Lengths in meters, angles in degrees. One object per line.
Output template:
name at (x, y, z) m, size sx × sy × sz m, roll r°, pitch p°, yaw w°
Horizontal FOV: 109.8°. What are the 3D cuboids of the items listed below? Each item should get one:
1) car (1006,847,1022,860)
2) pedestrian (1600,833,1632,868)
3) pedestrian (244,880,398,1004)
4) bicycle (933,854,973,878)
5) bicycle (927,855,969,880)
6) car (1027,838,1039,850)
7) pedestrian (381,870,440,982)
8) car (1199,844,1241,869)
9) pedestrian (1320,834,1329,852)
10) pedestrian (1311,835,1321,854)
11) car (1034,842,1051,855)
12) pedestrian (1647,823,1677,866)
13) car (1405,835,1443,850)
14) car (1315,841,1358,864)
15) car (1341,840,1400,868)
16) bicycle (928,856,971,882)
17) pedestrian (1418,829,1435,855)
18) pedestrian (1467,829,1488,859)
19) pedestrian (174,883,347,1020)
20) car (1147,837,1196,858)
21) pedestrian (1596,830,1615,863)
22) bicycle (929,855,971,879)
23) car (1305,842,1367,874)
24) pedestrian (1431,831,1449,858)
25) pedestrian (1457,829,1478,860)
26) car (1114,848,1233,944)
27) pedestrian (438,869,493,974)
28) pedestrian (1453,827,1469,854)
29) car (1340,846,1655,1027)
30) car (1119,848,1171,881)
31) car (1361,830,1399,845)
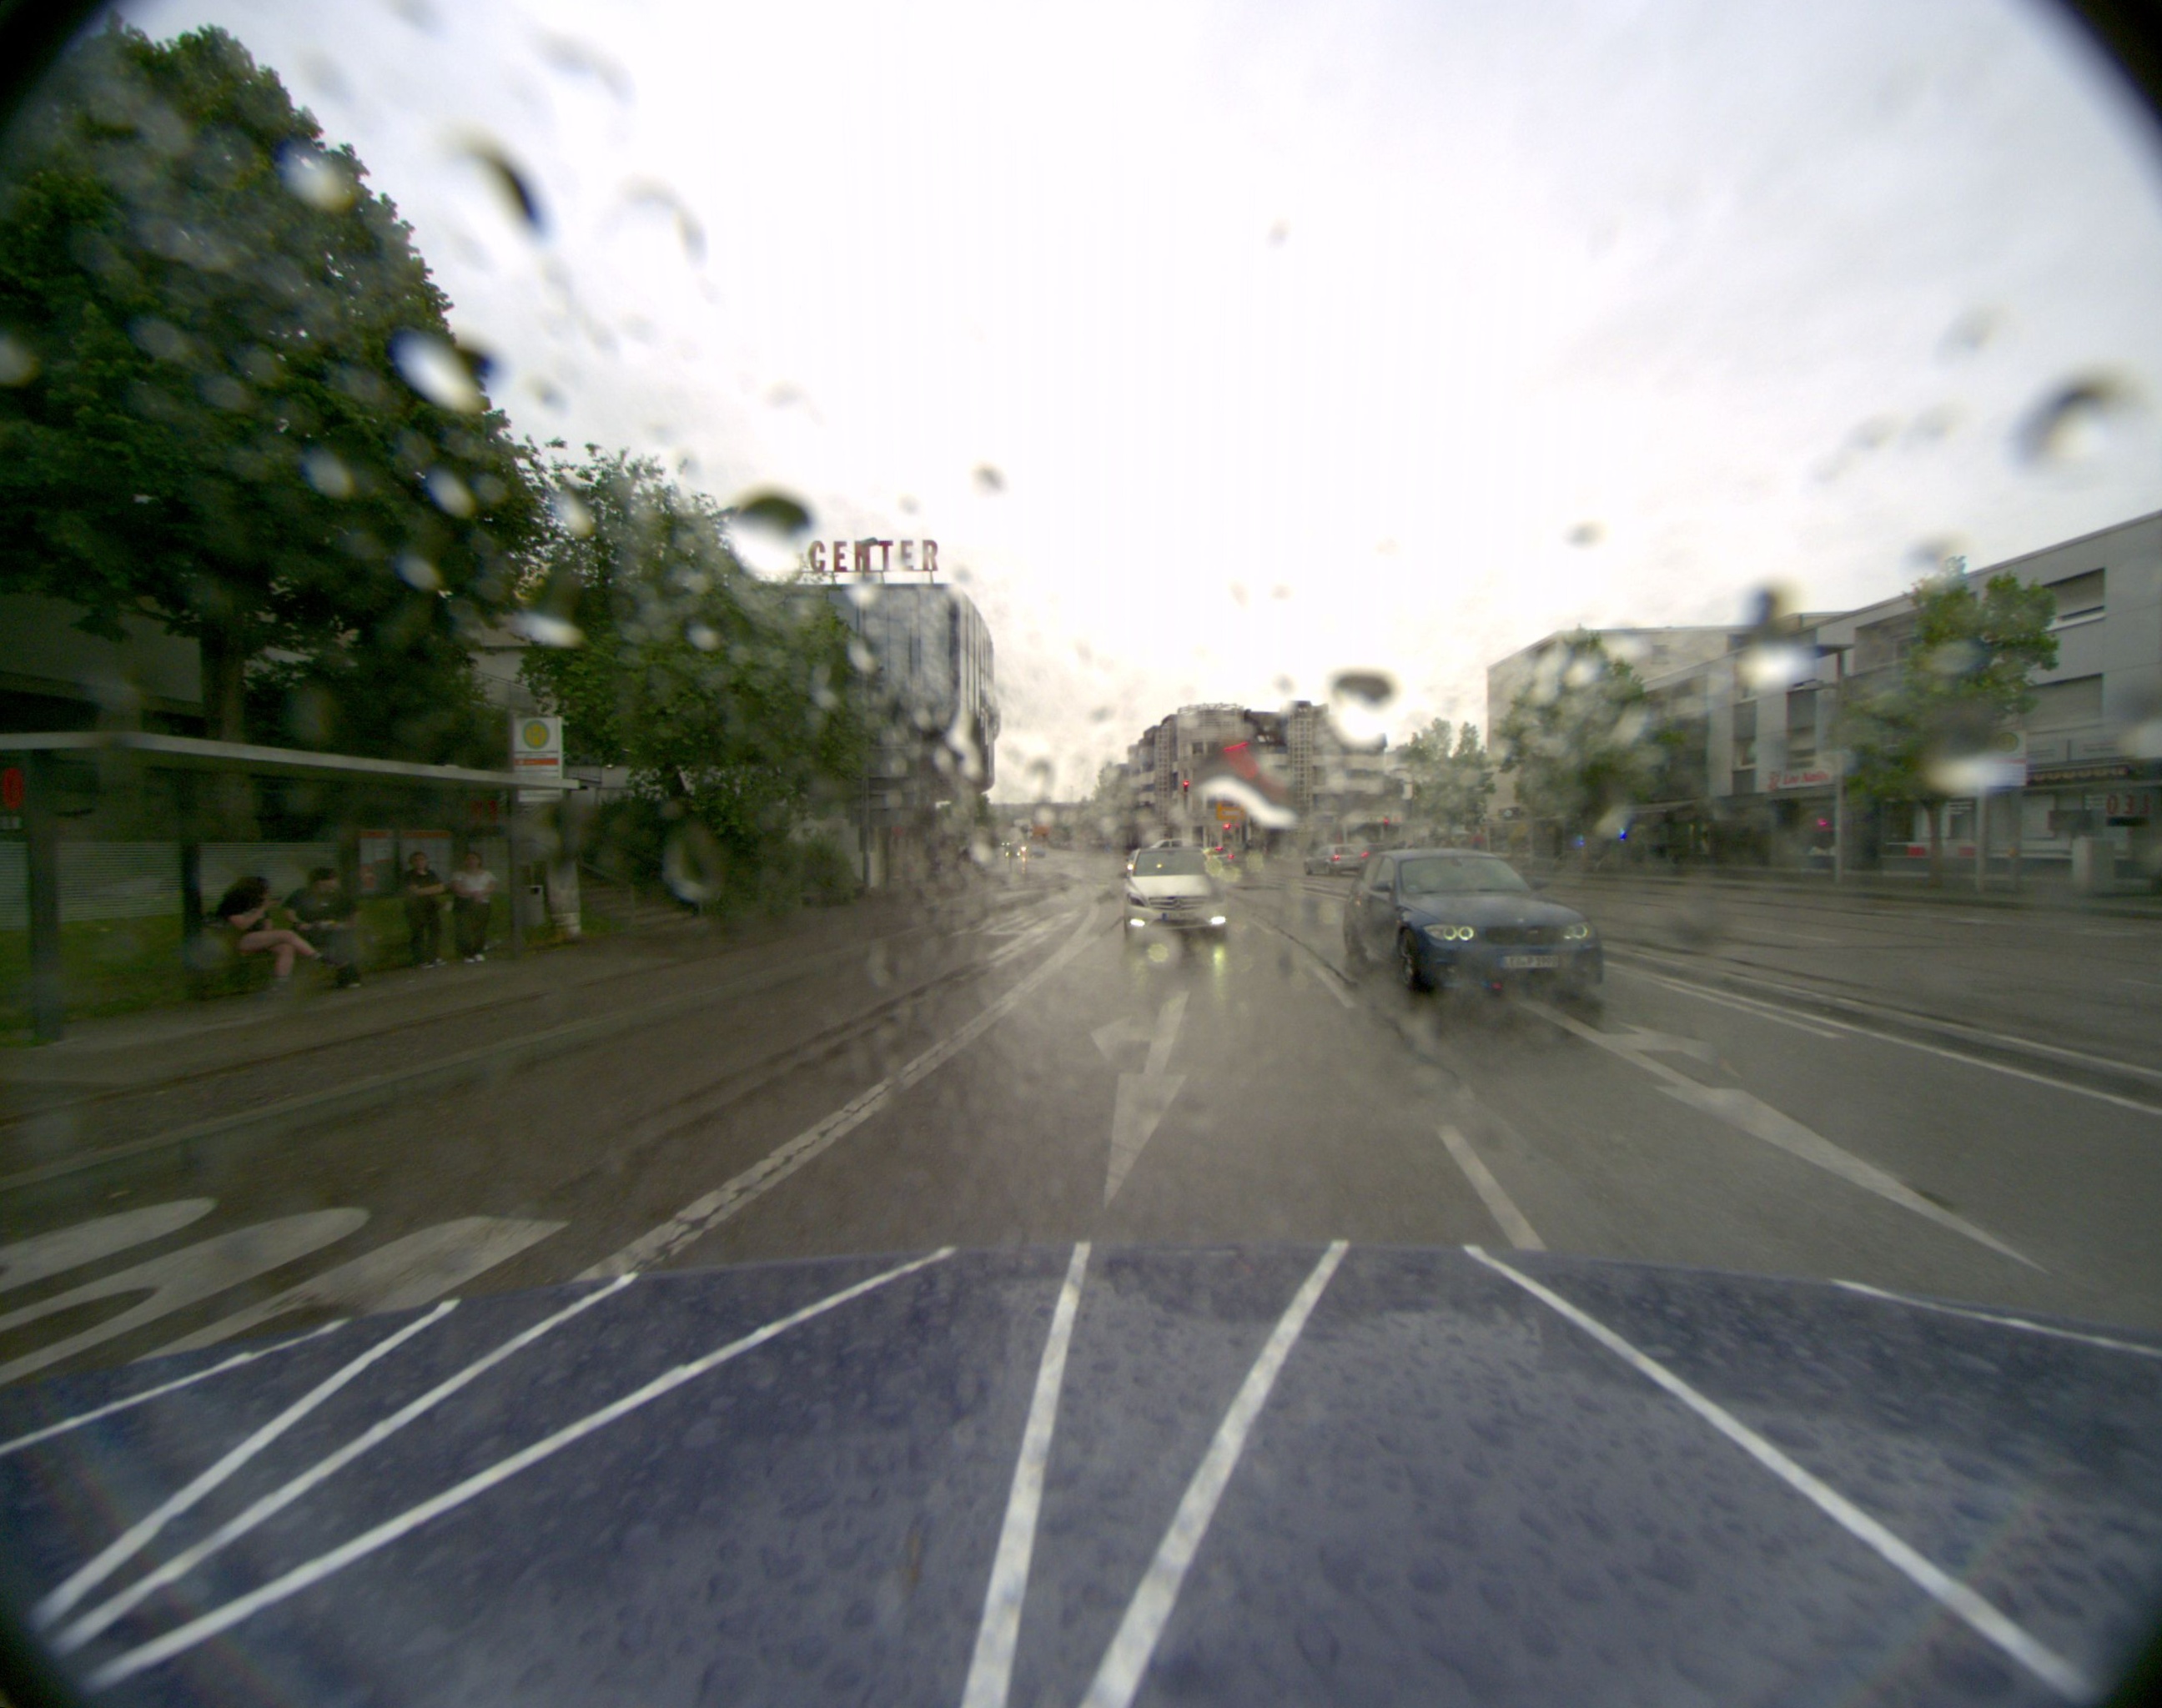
car at (-8.479, -0.099, 96.372) m, size 1.901 × 1.517 × 3.997 m, roll -1°, pitch 1°, yaw -6°
pedestrian at (25.476, -0.167, 36.223) m, size 1.009 × 1.636 × 0.727 m, roll -1°, pitch 1°, yaw 4°
pedestrian at (-8.470, 0.953, 8.501) m, size 1.032 × 1.274 × 0.692 m, roll 1°, pitch 1°, yaw 3°
bicycle at (-6.322, 0.594, 37.576) m, size 1.834 × 1.104 × 0.694 m, roll 1°, pitch 2°, yaw 2°
bicycle at (-6.111, 0.629, 34.925) m, size 1.805 × 1.079 × 0.685 m, roll 1°, pitch 3°, yaw 2°
car at (-6.846, -1.407, 108.731) m, size 1.584 × 1.630 × 3.638 m, roll -1°, pitch 1°, yaw -5°
pedestrian at (-8.555, 0.897, 9.693) m, size 0.544 × 1.357 × 0.410 m, roll 0°, pitch 2°, yaw -44°
car at (8.644, 0.164, 47.534) m, size 1.762 × 1.443 × 3.999 m, roll -1°, pitch 0°, yaw -2°
pedestrian at (23.934, -1.104, 74.702) m, size 0.682 × 1.733 × 0.586 m, roll -1°, pitch 2°, yaw 30°
pedestrian at (22.688, -0.930, 73.304) m, size 0.838 × 1.733 × 0.585 m, roll -2°, pitch 2°, yaw 10°
car at (-4.895, -0.682, 95.501) m, size 1.901 × 1.517 × 3.997 m, roll -1°, pitch 1°, yaw -6°
pedestrian at (27.244, -0.435, 35.640) m, size 0.760 × 2.002 × 0.864 m, roll -1°, pitch 1°, yaw 6°
car at (41.617, -1.392, 92.172) m, size 3.897 × 1.710 × 1.745 m, roll -1°, pitch 1°, yaw -14°
car at (16.499, -0.129, 49.270) m, size 1.761 × 1.419 × 4.890 m, roll -1°, pitch 1°, yaw 8°
car at (15.459, 0.001, 40.731) m, size 1.761 × 1.418 × 4.000 m, roll -1°, pitch 0°, yaw 2°
bicycle at (-5.984, 0.680, 34.533) m, size 1.814 × 1.104 × 0.694 m, roll 1°, pitch 1°, yaw 2°
pedestrian at (25.471, -0.890, 56.021) m, size 0.905 × 1.904 × 0.978 m, roll -1°, pitch 1°, yaw 7°
pedestrian at (26.391, -0.662, 50.529) m, size 0.905 × 2.002 × 0.978 m, roll -1°, pitch 1°, yaw 4°
pedestrian at (-8.327, 0.961, 7.749) m, size 1.032 × 1.274 × 0.692 m, roll 1°, pitch 1°, yaw 3°
car at (9.175, -0.701, 77.343) m, size 4.598 × 2.002 × 1.998 m, roll -1°, pitch 1°, yaw -10°
pedestrian at (27.645, -0.406, 40.041) m, size 0.549 × 1.740 × 0.681 m, roll -1°, pitch 1°, yaw 6°
bicycle at (-6.206, 0.624, 36.042) m, size 1.814 × 1.104 × 0.694 m, roll 1°, pitch 1°, yaw 2°
car at (12.066, 0.145, 36.239) m, size 1.703 × 1.458 × 4.103 m, roll 0°, pitch 1°, yaw 2°
pedestrian at (26.458, -0.693, 55.954) m, size 0.905 × 1.904 × 0.978 m, roll -1°, pitch 1°, yaw 4°
pedestrian at (25.529, -0.626, 50.190) m, size 0.905 × 2.002 × 0.978 m, roll -1°, pitch 1°, yaw 4°
car at (1.917, 0.683, 14.510) m, size 1.760 × 1.540 × 4.330 m, roll -2°, pitch 0°, yaw 13°
pedestrian at (-8.282, 0.885, 10.223) m, size 0.544 × 1.357 × 0.410 m, roll 0°, pitch 2°, yaw -43°
pedestrian at (28.607, -0.981, 57.247) m, size 0.760 × 2.002 × 0.864 m, roll -1°, pitch 1°, yaw 3°
car at (4.225, 0.710, 8.467) m, size 1.675 × 1.534 × 3.915 m, roll -1°, pitch 0°, yaw 6°
car at (3.143, 0.454, 36.687) m, size 1.630 × 1.481 × 3.844 m, roll -1°, pitch 1°, yaw 18°
car at (35.264, -1.990, 89.713) m, size 3.897 × 1.710 × 1.745 m, roll -1°, pitch 1°, yaw -14°
